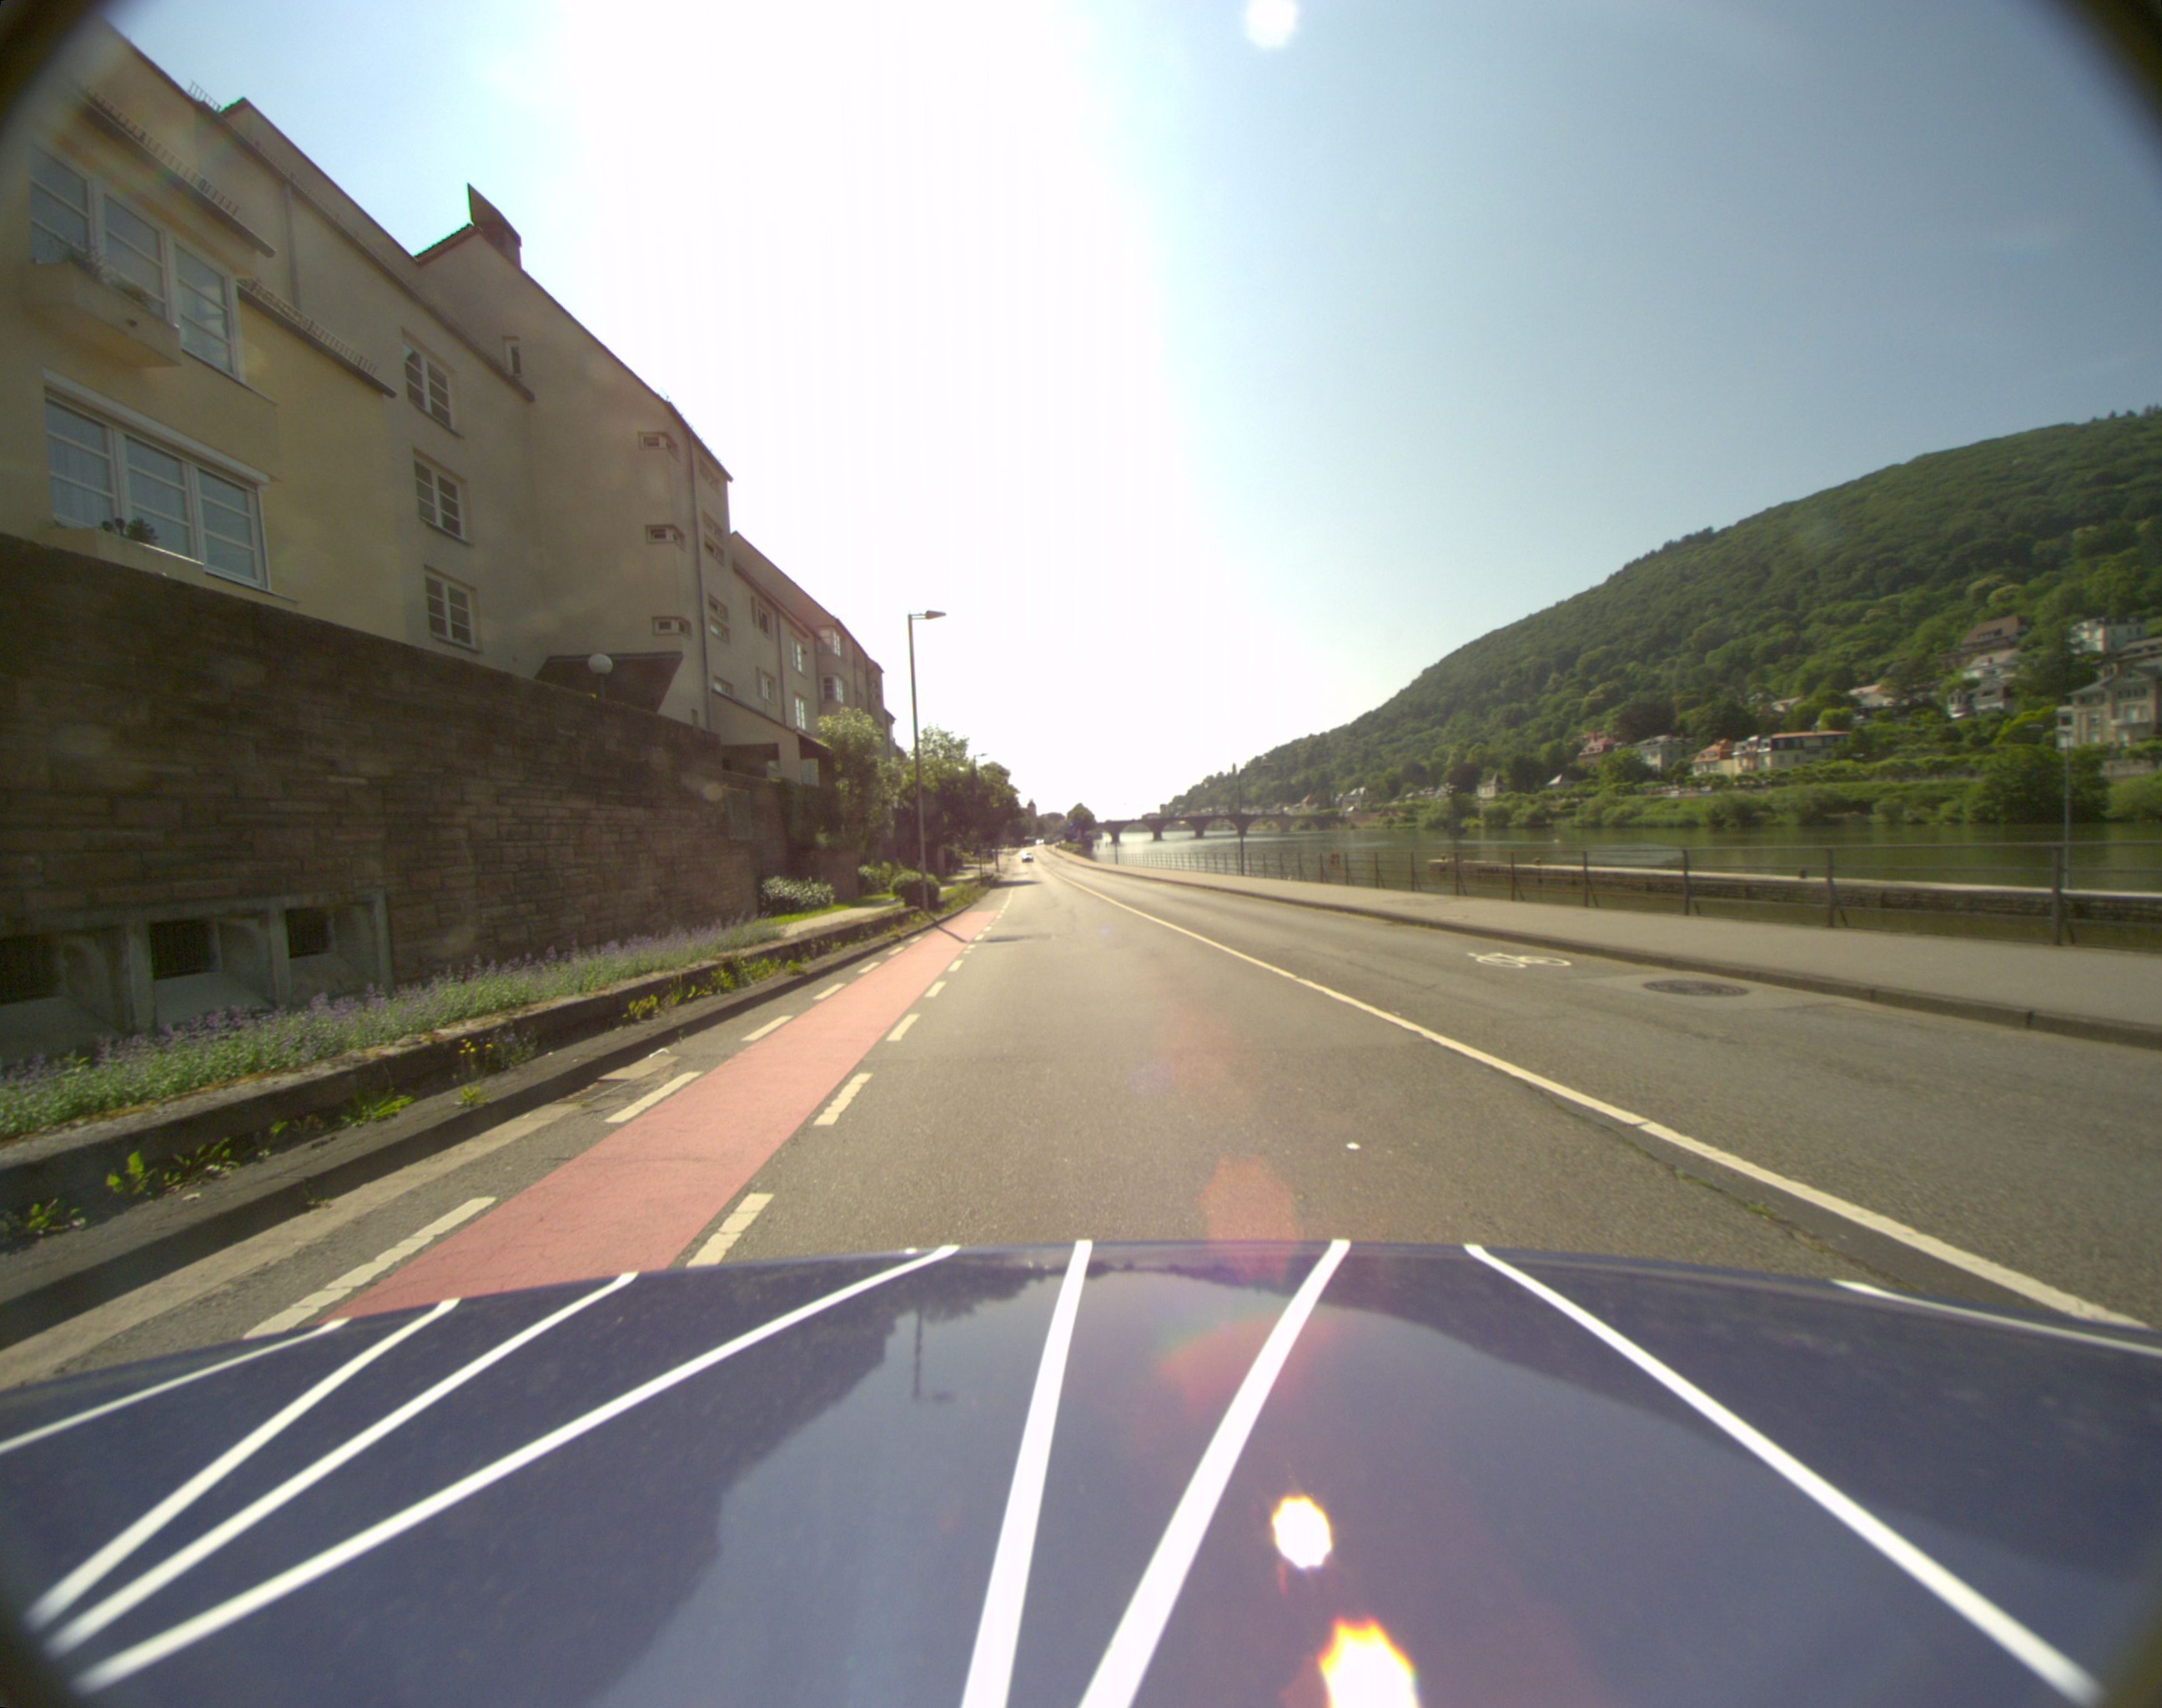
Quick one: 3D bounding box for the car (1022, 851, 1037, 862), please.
[{"bbox_3d":[-7.590,0.347,112.158,1.999,1.434,3.999,-2,1,-2],"label":"car"}]
